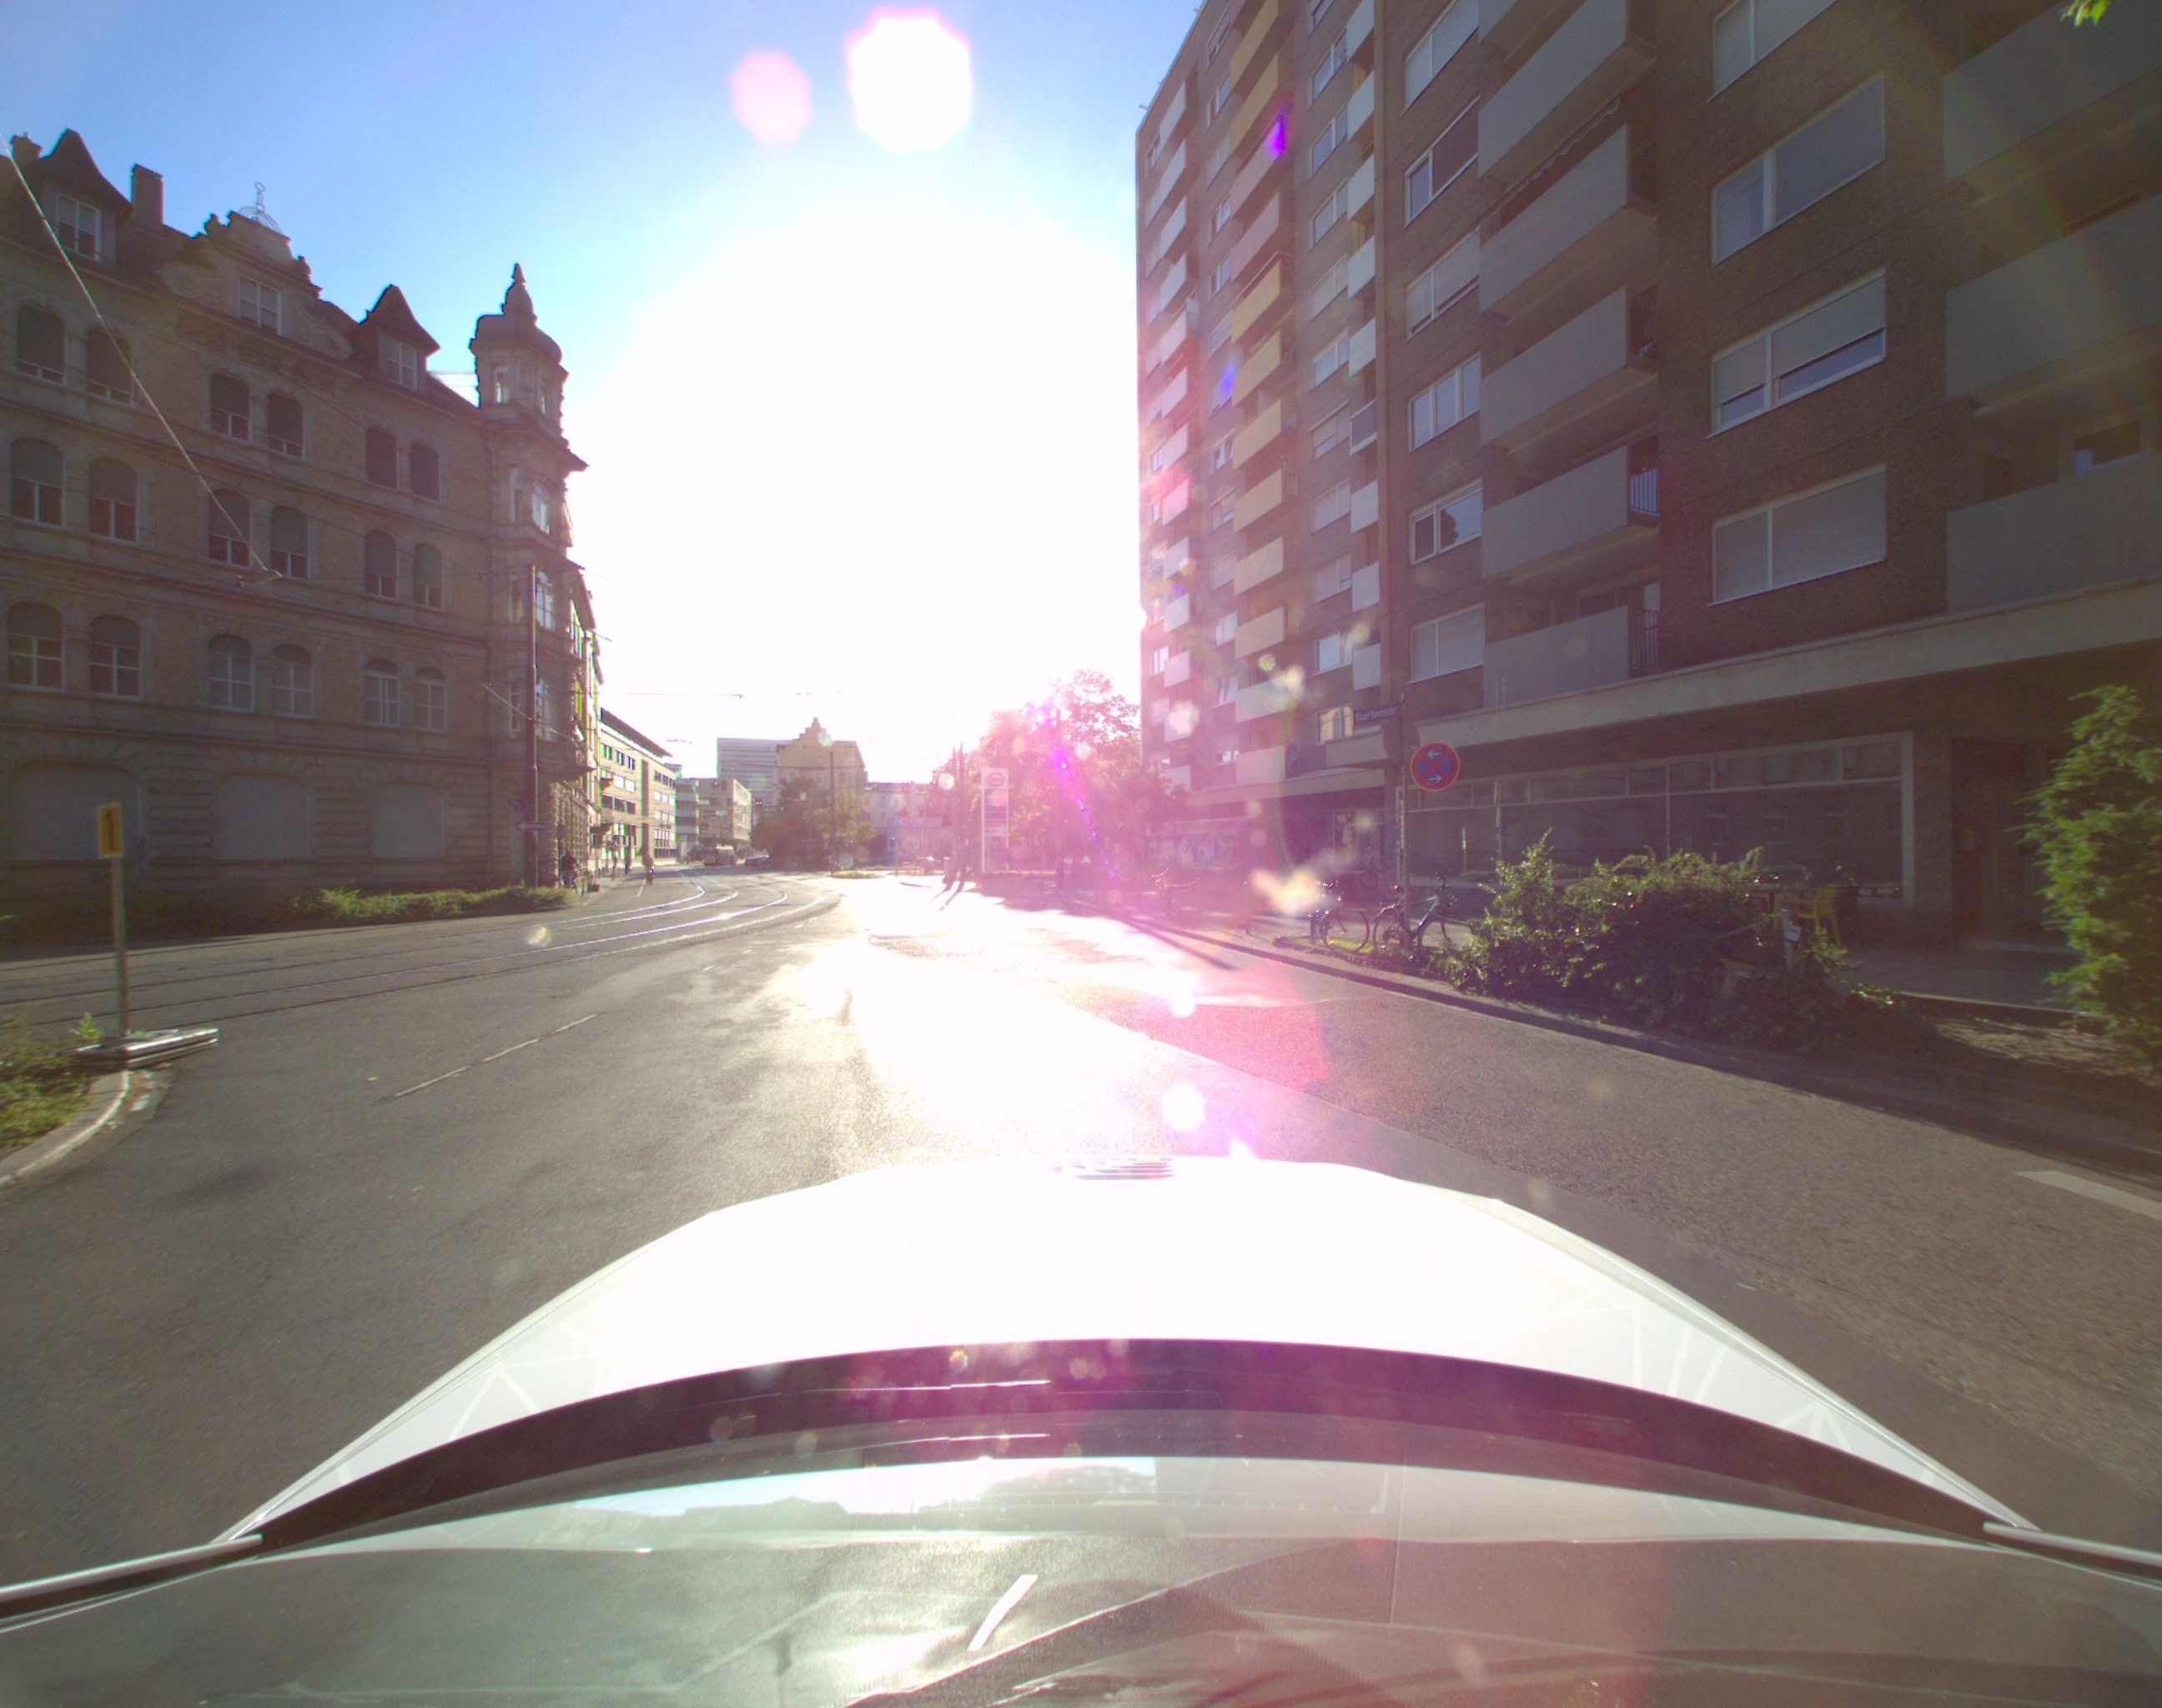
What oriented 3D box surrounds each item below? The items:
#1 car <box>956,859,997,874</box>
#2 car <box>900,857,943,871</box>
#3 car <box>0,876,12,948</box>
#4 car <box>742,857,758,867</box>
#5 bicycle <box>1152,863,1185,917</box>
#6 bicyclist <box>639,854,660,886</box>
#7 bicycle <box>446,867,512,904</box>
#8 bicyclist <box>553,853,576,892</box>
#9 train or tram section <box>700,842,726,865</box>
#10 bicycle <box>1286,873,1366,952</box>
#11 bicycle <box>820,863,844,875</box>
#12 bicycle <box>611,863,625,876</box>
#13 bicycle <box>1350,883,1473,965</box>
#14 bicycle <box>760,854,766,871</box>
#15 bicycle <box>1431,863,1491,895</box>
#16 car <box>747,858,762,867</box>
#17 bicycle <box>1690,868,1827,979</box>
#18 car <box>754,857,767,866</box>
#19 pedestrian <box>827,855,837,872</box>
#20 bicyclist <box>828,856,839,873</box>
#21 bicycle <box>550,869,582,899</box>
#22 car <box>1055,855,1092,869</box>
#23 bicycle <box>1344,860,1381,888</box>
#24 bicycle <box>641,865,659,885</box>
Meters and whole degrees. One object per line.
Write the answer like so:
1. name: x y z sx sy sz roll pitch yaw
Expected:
1. car: -10.662 1.224 83.221 3.980 1.453 1.807 -1 0 -5
2. car: -17.773 1.093 90.973 4.462 1.487 1.780 -1 0 -1
3. car: -23.270 1.180 15.312 1.834 1.428 3.515 2 2 25
4. car: -50.740 1.231 125.012 2.000 1.464 3.974 -1 0 -19
5. bicycle: 2.110 0.836 19.875 0.636 1.226 2.089 -1 0 2
6. bicyclist: -25.608 0.934 48.363 1.035 1.891 1.103 -1 -1 -27
7. bicycle: -21.192 1.095 28.697 0.496 1.206 1.803 2 1 28
8. bicyclist: -20.292 0.714 31.992 0.593 1.491 0.698 -1 0 -18
9. train or tram section: -61.746 -0.040 136.764 2.247 3.574 14.190 -1 0 -18
10. bicycle: 3.646 0.833 12.290 0.636 1.022 2.089 -1 0 2
11. bicycle: -21.116 1.275 69.081 1.840 0.984 0.728 -1 0 -23
12. bicycle: -39.531 1.334 69.547 0.952 1.097 1.980 -1 0 -28
13. bicycle: 4.212 0.863 10.520 0.543 0.904 1.727 -1 0 -15
14. bicycle: -35.919 0.953 92.048 0.567 1.806 1.349 -1 0 -21
15. bicycle: 11.416 0.740 24.519 0.645 0.899 1.639 -1 0 -23
16. car: -54.142 1.401 135.022 2.000 1.486 3.974 -1 0 -19
17. bicycle: 6.905 0.676 8.346 0.349 1.038 1.047 -1 0 -15
18. car: -58.897 1.367 149.508 2.000 1.486 3.974 -1 0 -19
19. pedestrian: -25.144 0.948 82.197 0.929 1.692 0.772 -1 0 -20
20. bicyclist: -21.017 0.862 69.155 0.807 1.413 0.619 -1 -1 -22
21. bicycle: -20.294 1.154 32.102 0.502 1.133 2.114 -1 -1 -17
22. car: -0.849 0.849 88.813 3.981 1.507 1.669 -1 0 -6
23. bicycle: 9.878 0.683 28.596 0.433 0.942 1.314 -1 0 -23
24. bicycle: -25.456 1.238 48.100 0.887 1.156 2.303 0 0 -28
